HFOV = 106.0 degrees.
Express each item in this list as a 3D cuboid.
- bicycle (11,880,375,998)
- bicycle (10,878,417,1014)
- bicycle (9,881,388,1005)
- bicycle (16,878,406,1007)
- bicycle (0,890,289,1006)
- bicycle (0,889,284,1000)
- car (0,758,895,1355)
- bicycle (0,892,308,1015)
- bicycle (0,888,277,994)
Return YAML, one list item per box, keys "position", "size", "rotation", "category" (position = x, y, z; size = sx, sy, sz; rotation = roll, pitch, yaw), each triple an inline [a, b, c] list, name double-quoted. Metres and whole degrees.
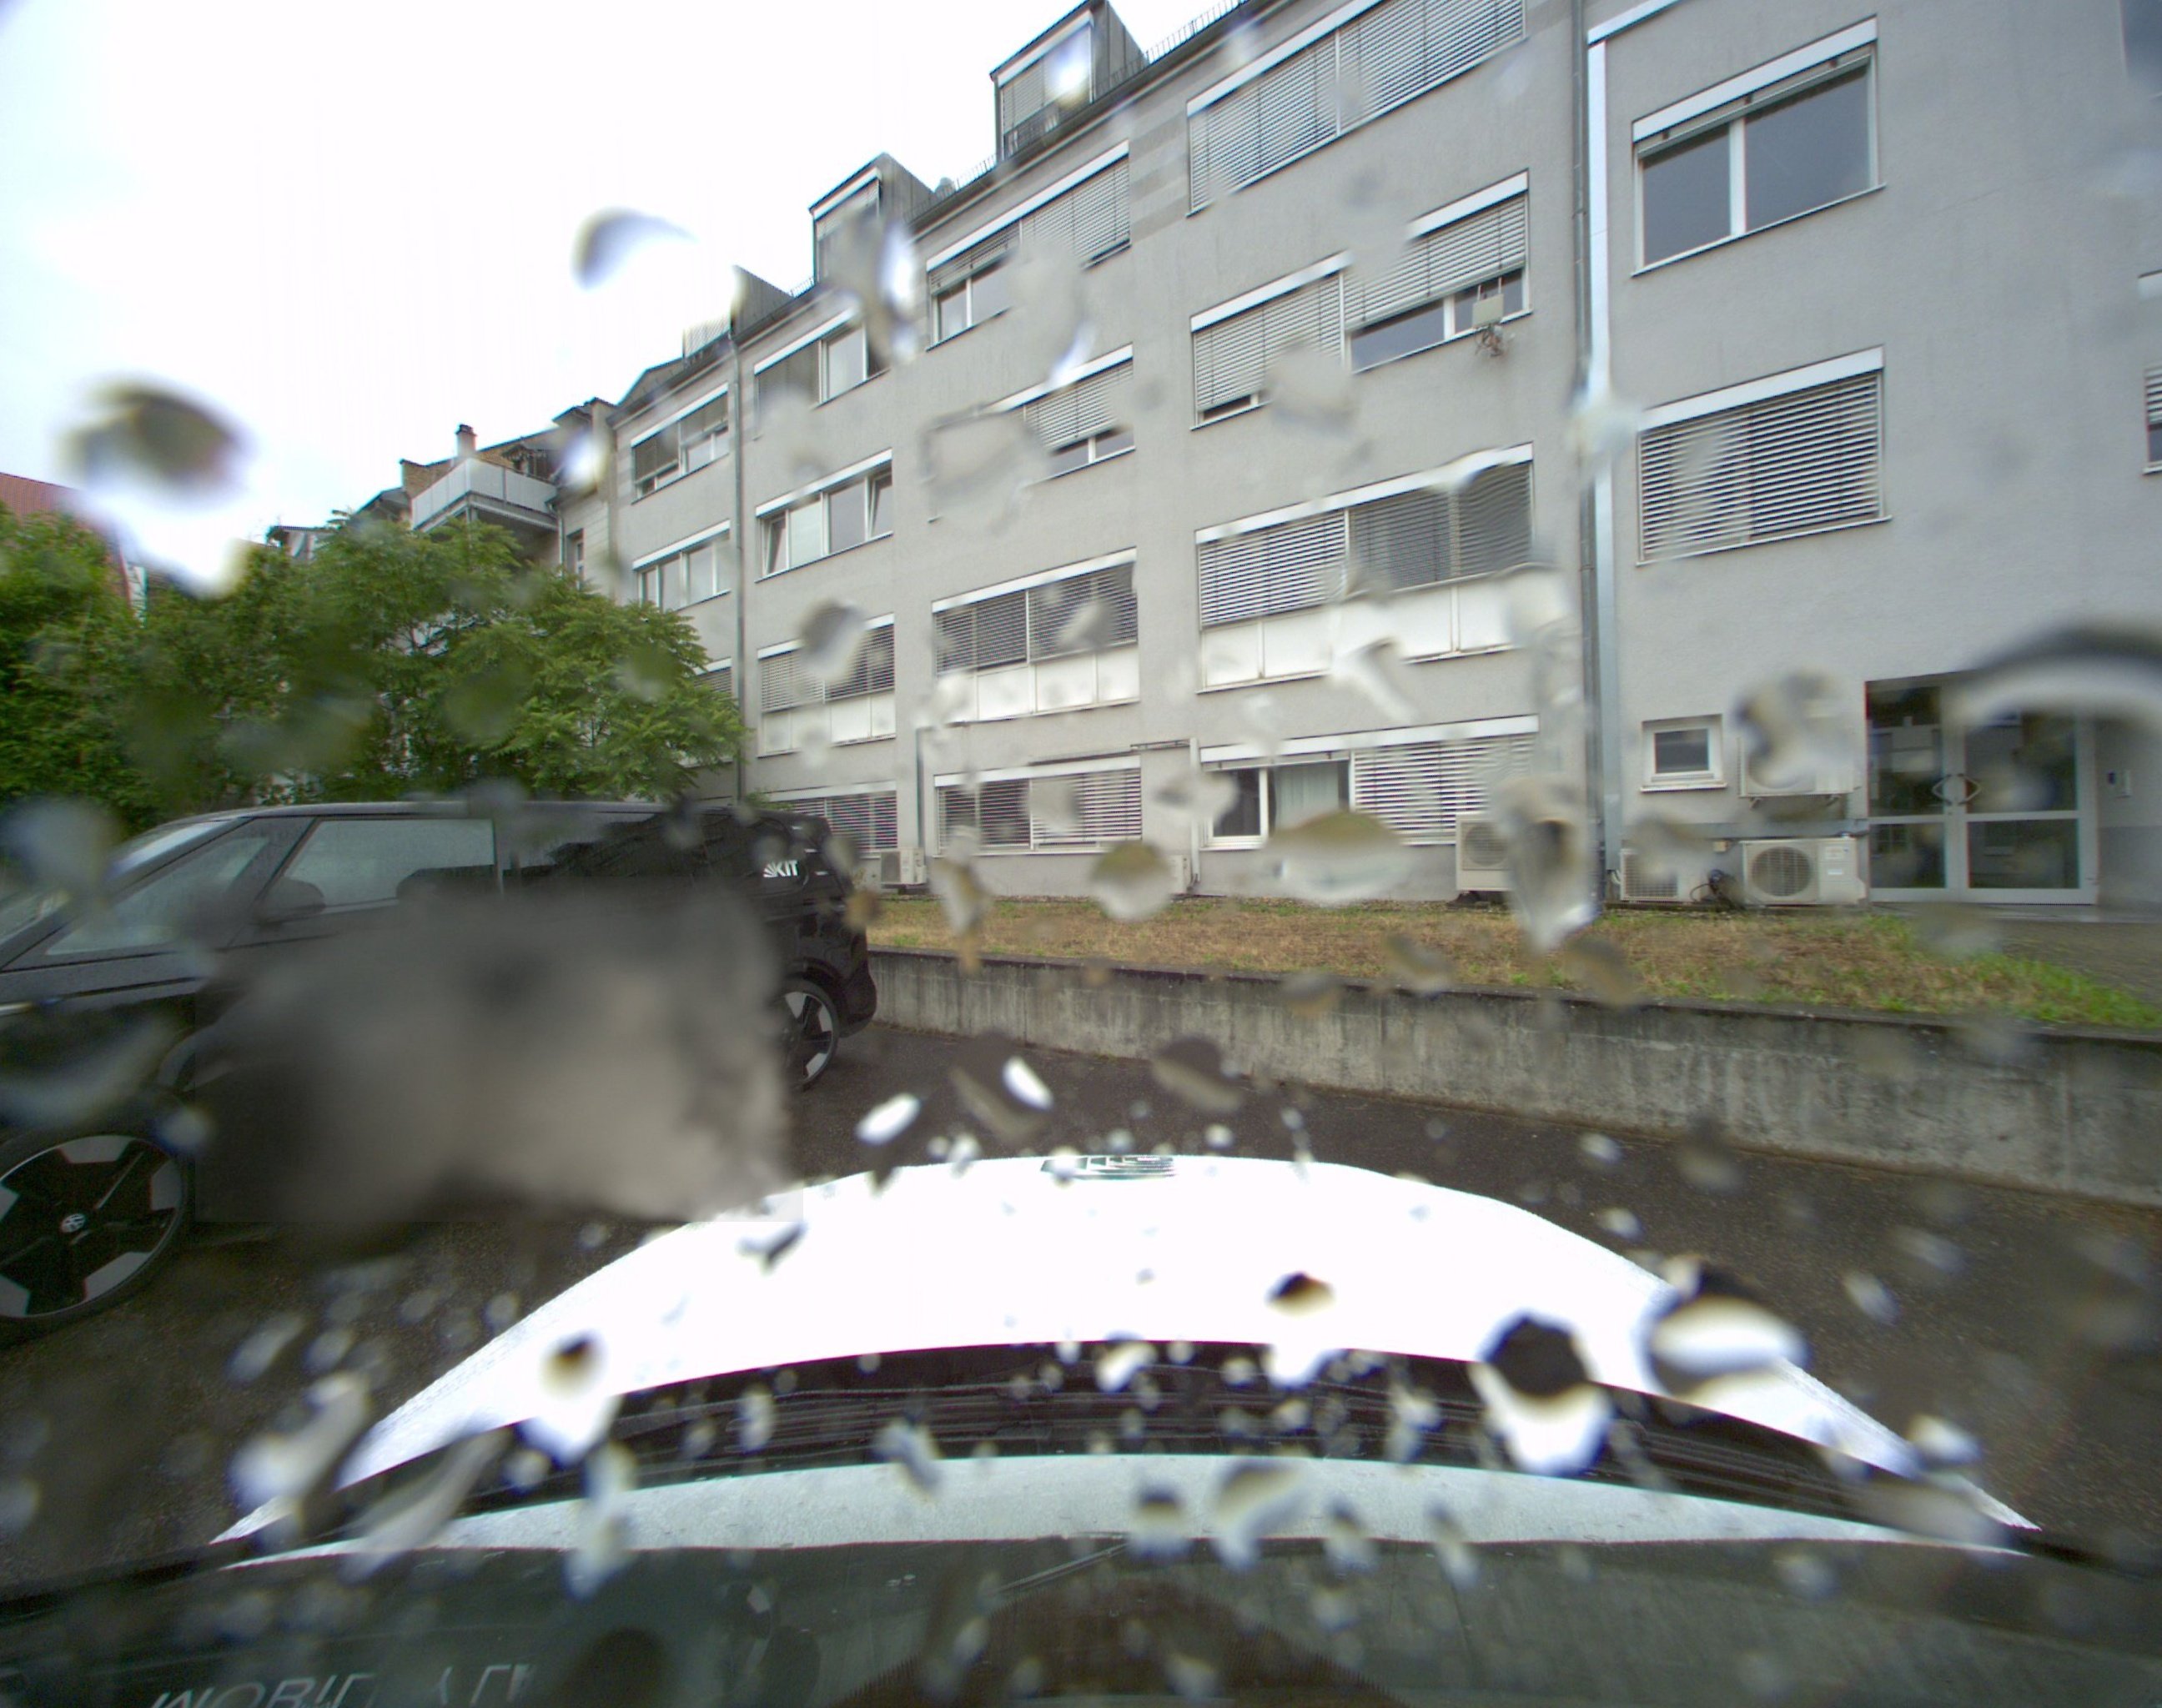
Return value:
- position: [-11.684, 1.038, 10.943]
  size: [0.623, 1.242, 3.245]
  rotation: [-3, -1, 38]
  category: "bicycle"
- position: [-10.050, 0.980, 9.695]
  size: [0.623, 1.242, 3.245]
  rotation: [-3, -1, 38]
  category: "bicycle"
- position: [-11.135, 1.040, 10.512]
  size: [0.623, 1.242, 3.245]
  rotation: [-3, -1, 38]
  category: "bicycle"
- position: [-10.573, 0.993, 10.143]
  size: [0.623, 1.242, 3.245]
  rotation: [-3, -1, 38]
  category: "bicycle"
- position: [-11.076, 1.050, 9.654]
  size: [0.624, 1.104, 2.350]
  rotation: [-1, 0, 40]
  category: "bicycle"
- position: [-11.567, 1.055, 10.089]
  size: [0.624, 1.104, 2.350]
  rotation: [-1, 0, 40]
  category: "bicycle"
- position: [-3.449, 0.646, 4.467]
  size: [2.020, 1.897, 4.551]
  rotation: [-2, 0, 33]
  category: "car"
- position: [-10.389, 1.045, 9.191]
  size: [0.624, 1.104, 2.350]
  rotation: [-1, 0, 40]
  category: "bicycle"
- position: [-12.060, 1.059, 10.498]
  size: [0.624, 1.104, 2.350]
  rotation: [-1, 0, 40]
  category: "bicycle"
